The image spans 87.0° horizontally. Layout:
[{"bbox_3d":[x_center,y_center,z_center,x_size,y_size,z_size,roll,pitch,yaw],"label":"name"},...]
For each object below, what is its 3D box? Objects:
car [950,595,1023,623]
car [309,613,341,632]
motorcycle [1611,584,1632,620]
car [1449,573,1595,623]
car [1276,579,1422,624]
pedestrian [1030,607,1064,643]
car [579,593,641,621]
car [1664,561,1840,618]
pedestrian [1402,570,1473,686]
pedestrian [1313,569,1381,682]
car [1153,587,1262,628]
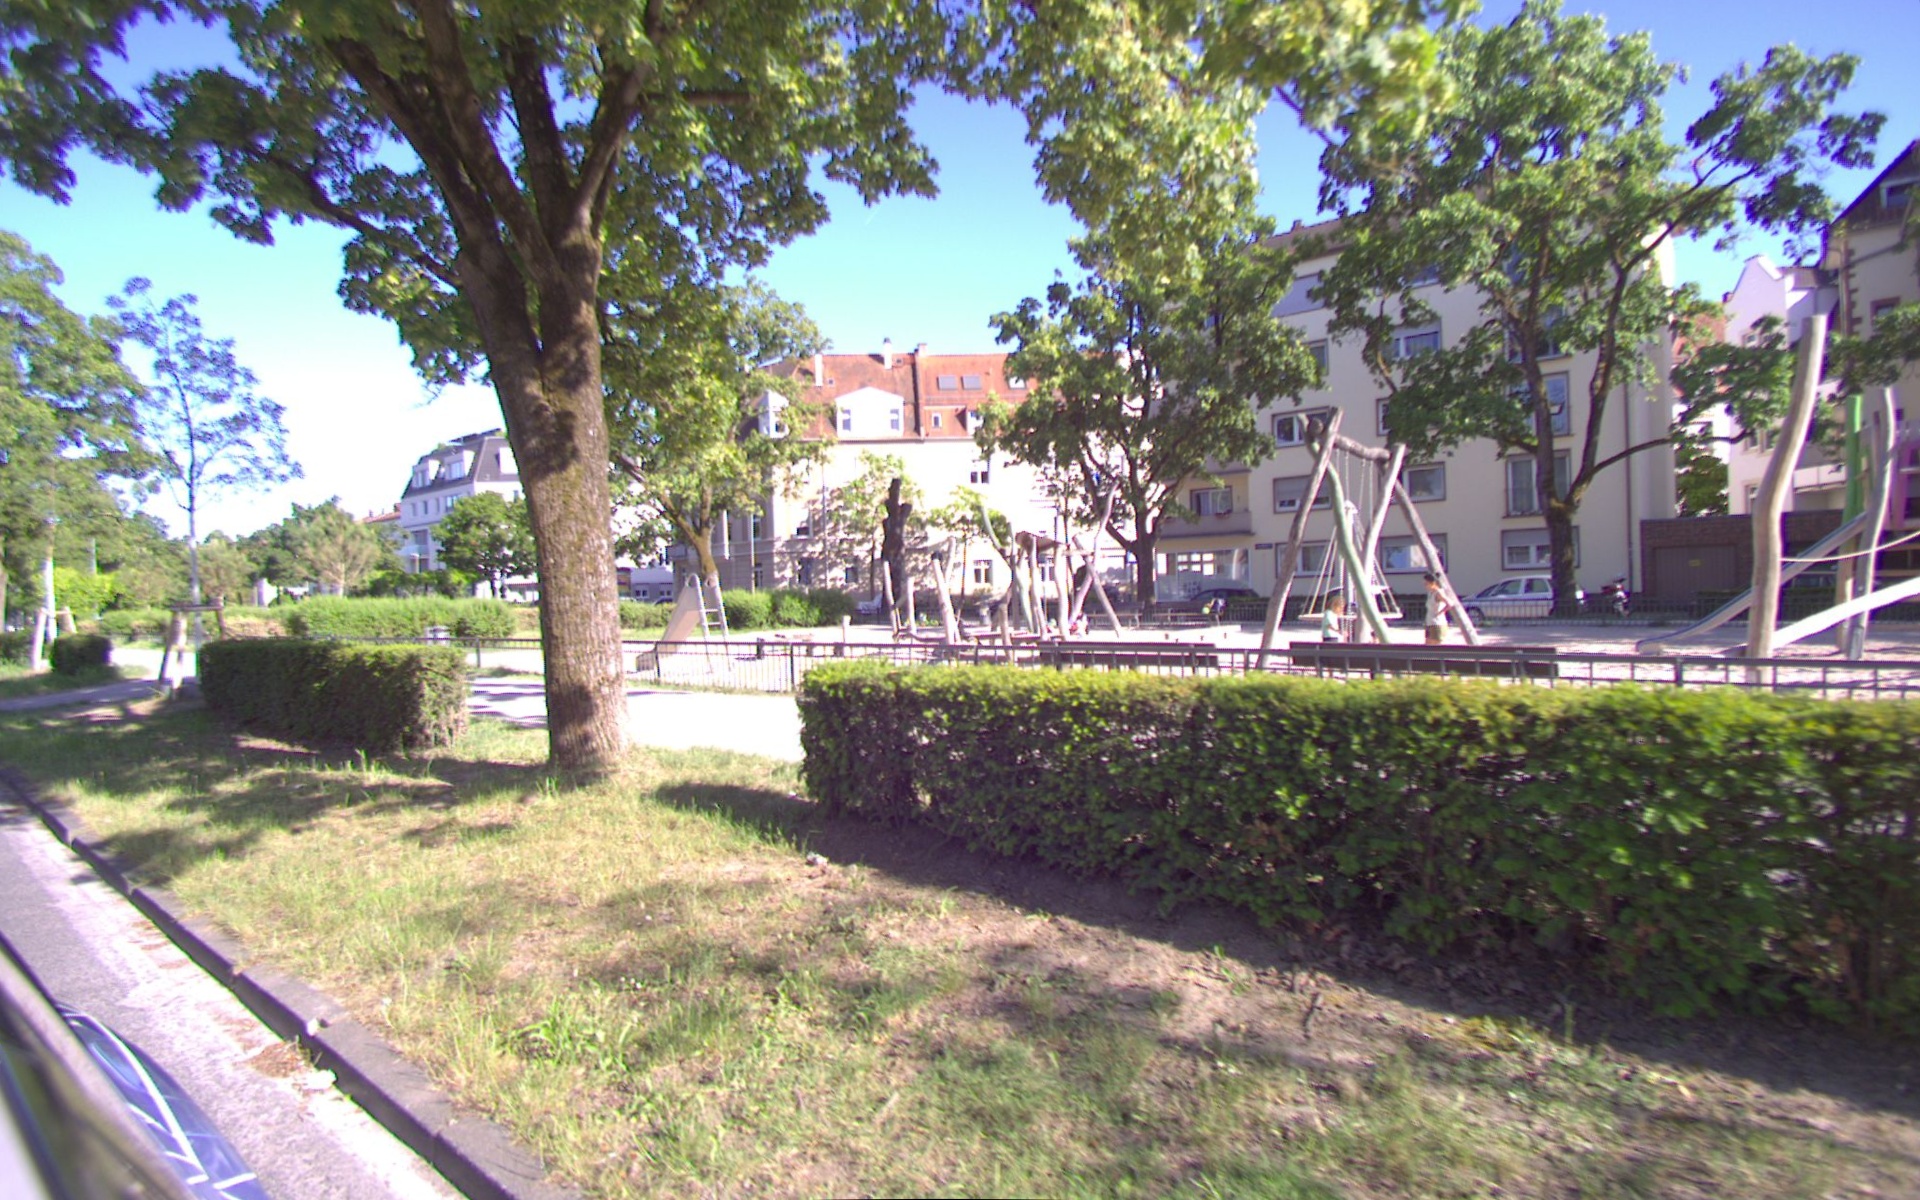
[{"bbox_3d":[1.584,0.542,60.263,3.933,1.521,1.805,-2,0,-14],"label":"car"},{"bbox_3d":[-70.224,2.473,111.853,4.405,2.044,1.915,-2,-1,43],"label":"car"},{"bbox_3d":[21.101,0.052,32.289,0.499,1.116,1.780,-2,0,33],"label":"motorcycle"},{"bbox_3d":[18.921,-0.064,34.156,3.998,1.521,1.775,-2,0,42],"label":"car"},{"bbox_3d":[14.580,0.080,38.096,4.760,1.521,1.887,-2,0,40],"label":"car"},{"bbox_3d":[2.444,0.697,28.455,0.535,0.986,0.779,-2,0,-41],"label":"pedestrian"},{"bbox_3d":[-23.030,0.450,66.449,4.585,1.647,1.775,-2,0,42],"label":"car"},{"bbox_3d":[23.549,-0.301,30.182,3.998,1.521,1.775,-2,0,42],"label":"car"},{"bbox_3d":[7.119,0.403,15.099,0.639,1.674,0.652,-2,0,-31],"label":"pedestrian"},{"bbox_3d":[5.930,0.381,15.517,0.639,1.674,0.652,-2,0,-31],"label":"pedestrian"},{"bbox_3d":[10.219,0.319,41.948,3.998,1.521,1.775,-2,0,42],"label":"car"}]
